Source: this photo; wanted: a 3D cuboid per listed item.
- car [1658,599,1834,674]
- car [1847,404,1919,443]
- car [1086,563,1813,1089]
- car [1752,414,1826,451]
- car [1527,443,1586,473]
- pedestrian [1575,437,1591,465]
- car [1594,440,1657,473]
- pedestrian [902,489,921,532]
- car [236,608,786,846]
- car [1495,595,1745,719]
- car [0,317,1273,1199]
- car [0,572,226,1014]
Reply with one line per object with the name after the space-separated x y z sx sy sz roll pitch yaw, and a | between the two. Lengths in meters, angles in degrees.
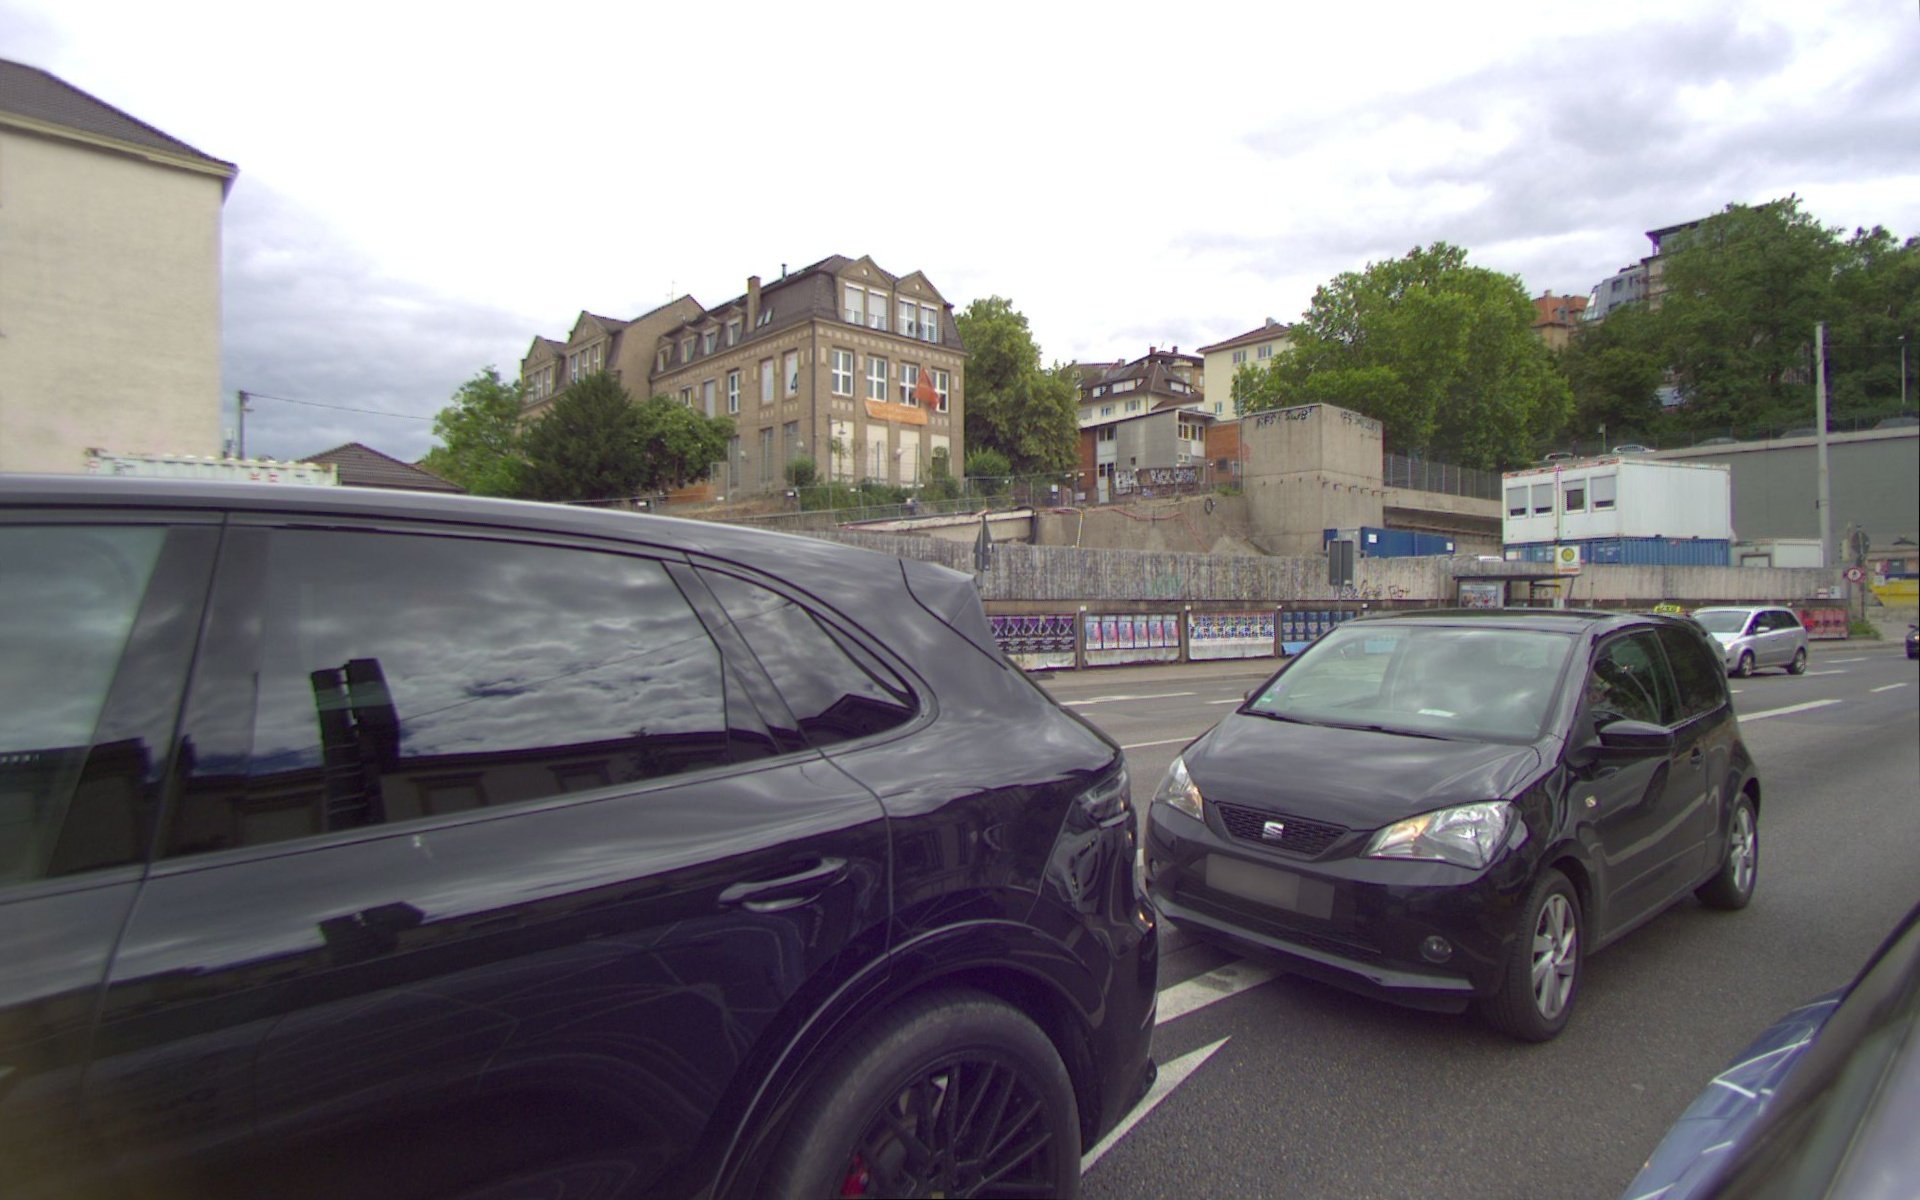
18.295 0.773 23.500 4.460 1.579 1.707 0 0 -31 | car
64.144 -12.202 70.056 1.966 2.039 3.991 0 1 -43 | car
2.520 0.656 4.791 3.812 1.515 1.667 0 -1 -40 | car
60.605 -12.232 74.023 1.966 2.039 3.991 0 1 -43 | car
50.239 -11.926 85.235 3.988 2.039 1.968 0 1 45 | car
49.932 -11.964 81.122 0.891 2.039 0.849 0 -1 -45 | pedestrian
53.555 -11.518 81.446 3.988 2.039 1.968 0 1 45 | car
-2.380 -4.385 49.856 0.656 2.039 0.644 0 0 -45 | pedestrian
-3.597 0.840 8.457 3.927 1.498 1.663 0 0 -38 | car
10.029 0.735 15.247 4.570 1.591 1.826 0 0 -39 | car
-1.629 0.580 1.706 4.552 1.707 1.959 0 -1 -40 | car
-4.890 0.689 3.424 3.812 1.563 1.667 0 -1 -40 | car
